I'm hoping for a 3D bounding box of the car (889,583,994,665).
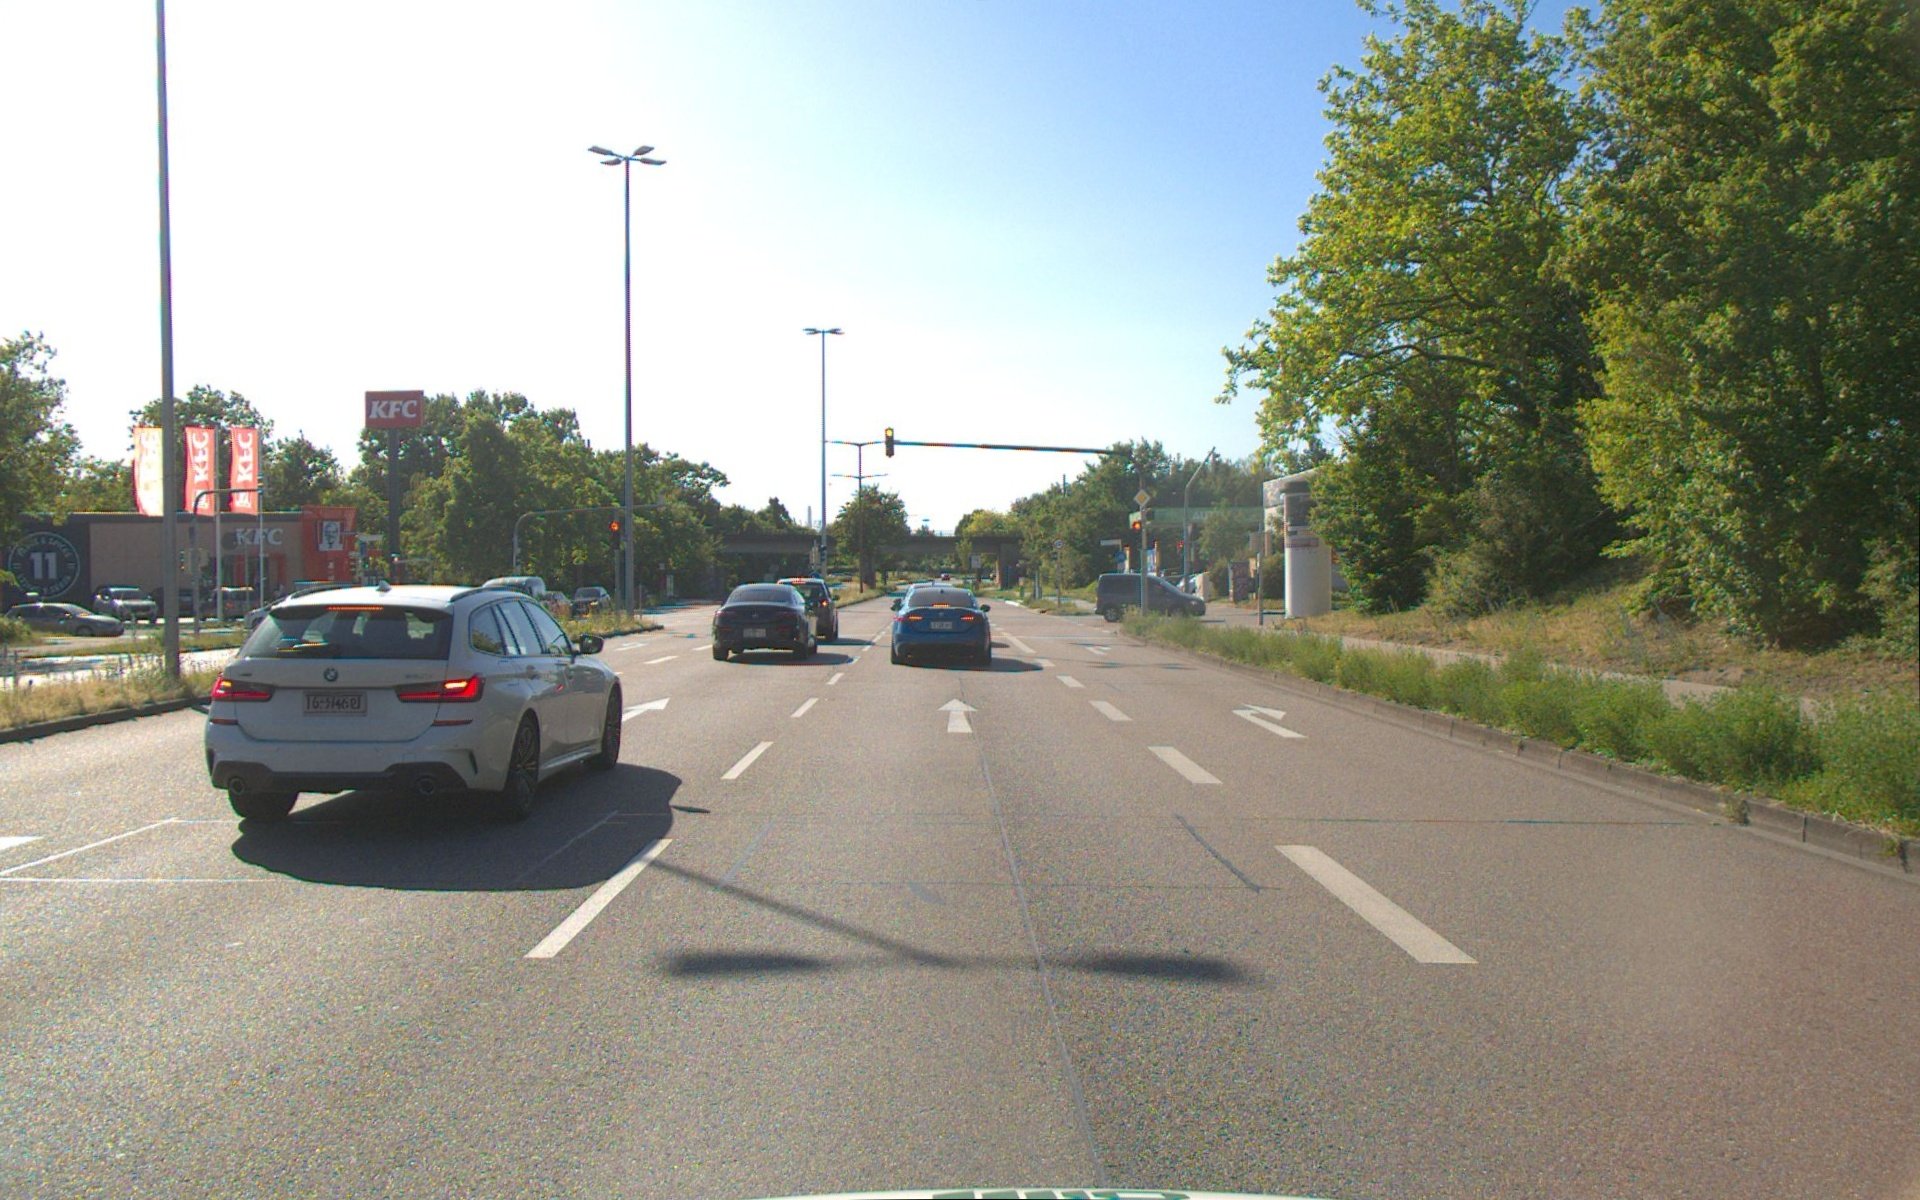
[{"bbox_3d":[-0.298,0.431,31.594,1.870,1.447,3.719,1,0,1],"label":"car"}]

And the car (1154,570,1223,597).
[{"bbox_3d":[13.827,-0.974,100.372,3.905,1.579,2.000,1,0,0],"label":"car"}]

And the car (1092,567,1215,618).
[{"bbox_3d":[7.502,-0.283,64.056,4.485,1.908,1.819,0,1,17],"label":"car"}]

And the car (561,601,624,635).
[{"bbox_3d":[-19.951,0.953,89.973,1.764,1.756,4.326,0,1,11],"label":"car"}]

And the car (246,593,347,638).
[{"bbox_3d":[-28.202,0.638,70.416,3.695,1.845,1.993,1,0,-13],"label":"car"}]

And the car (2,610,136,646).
[{"bbox_3d":[-33.545,1.033,62.374,4.001,1.274,1.871,1,0,-3],"label":"car"}]

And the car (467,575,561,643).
[{"bbox_3d":[-12.983,0.264,48.358,1.644,1.880,4.294,1,0,-2],"label":"car"}]

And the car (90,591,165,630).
[{"bbox_3d":[-39.461,0.480,78.398,4.026,1.770,1.922,1,0,43],"label":"car"}]

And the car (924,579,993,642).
[{"bbox_3d":[-0.005,0.262,42.694,1.669,1.523,3.719,1,0,1],"label":"car"}]

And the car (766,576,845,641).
[{"bbox_3d":[-3.955,0.199,42.863,1.776,1.578,4.351,1,0,-2],"label":"car"}]

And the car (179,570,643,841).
[{"bbox_3d":[-3.544,0.600,11.654,1.775,1.512,4.595,1,0,-1],"label":"car"}]

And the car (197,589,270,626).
[{"bbox_3d":[-36.039,0.362,82.037,4.026,1.770,1.922,1,0,43],"label":"car"}]

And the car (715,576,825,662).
[{"bbox_3d":[-3.719,0.330,33.028,1.775,1.578,4.542,0,1,-1],"label":"car"}]
